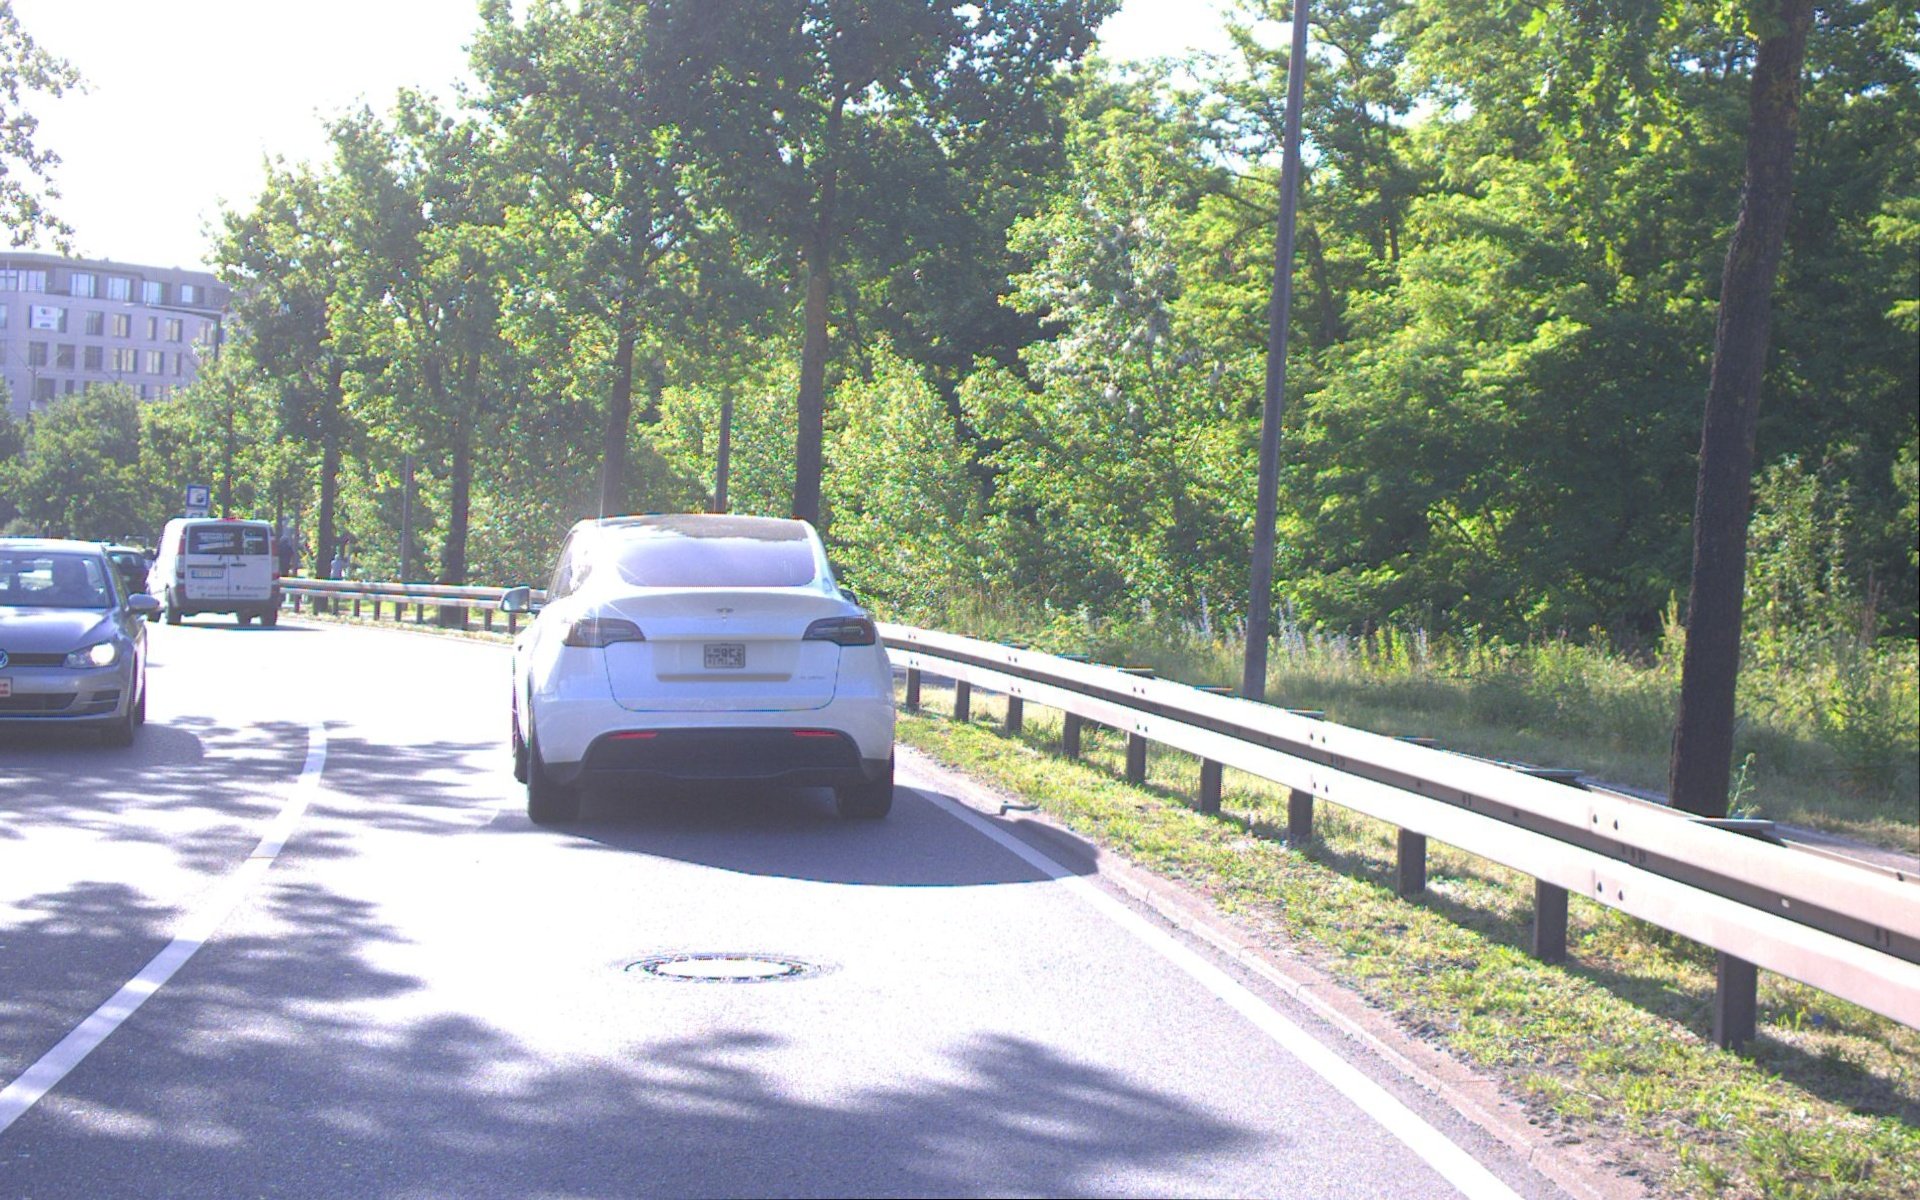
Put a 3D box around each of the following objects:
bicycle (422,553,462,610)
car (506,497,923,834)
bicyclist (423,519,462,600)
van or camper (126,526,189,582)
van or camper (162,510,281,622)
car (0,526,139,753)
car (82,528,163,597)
[{"bbox_3d":[-10.322,-0.367,68.543,0.700,1.071,1.921,1,-1,-6],"label":"bicycle"},{"bbox_3d":[-1.495,0.296,19.208,1.913,1.635,4.411,1,1,-9],"label":"car"},{"bbox_3d":[-10.314,-0.807,68.543,0.707,1.573,1.005,1,-1,-7],"label":"bicyclist"},{"bbox_3d":[-29.277,-1.713,125.522,1.825,1.785,4.546,4,2,-10],"label":"van or camper"},{"bbox_3d":[-13.282,-0.627,61.670,1.958,1.877,4.881,1,1,-13],"label":"van or camper"},{"bbox_3d":[-6.890,0.226,25.057,1.694,1.513,3.982,1,1,-13],"label":"car"},{"bbox_3d":[-18.902,-0.838,77.506,1.603,1.429,3.679,3,0,-15],"label":"car"}]
